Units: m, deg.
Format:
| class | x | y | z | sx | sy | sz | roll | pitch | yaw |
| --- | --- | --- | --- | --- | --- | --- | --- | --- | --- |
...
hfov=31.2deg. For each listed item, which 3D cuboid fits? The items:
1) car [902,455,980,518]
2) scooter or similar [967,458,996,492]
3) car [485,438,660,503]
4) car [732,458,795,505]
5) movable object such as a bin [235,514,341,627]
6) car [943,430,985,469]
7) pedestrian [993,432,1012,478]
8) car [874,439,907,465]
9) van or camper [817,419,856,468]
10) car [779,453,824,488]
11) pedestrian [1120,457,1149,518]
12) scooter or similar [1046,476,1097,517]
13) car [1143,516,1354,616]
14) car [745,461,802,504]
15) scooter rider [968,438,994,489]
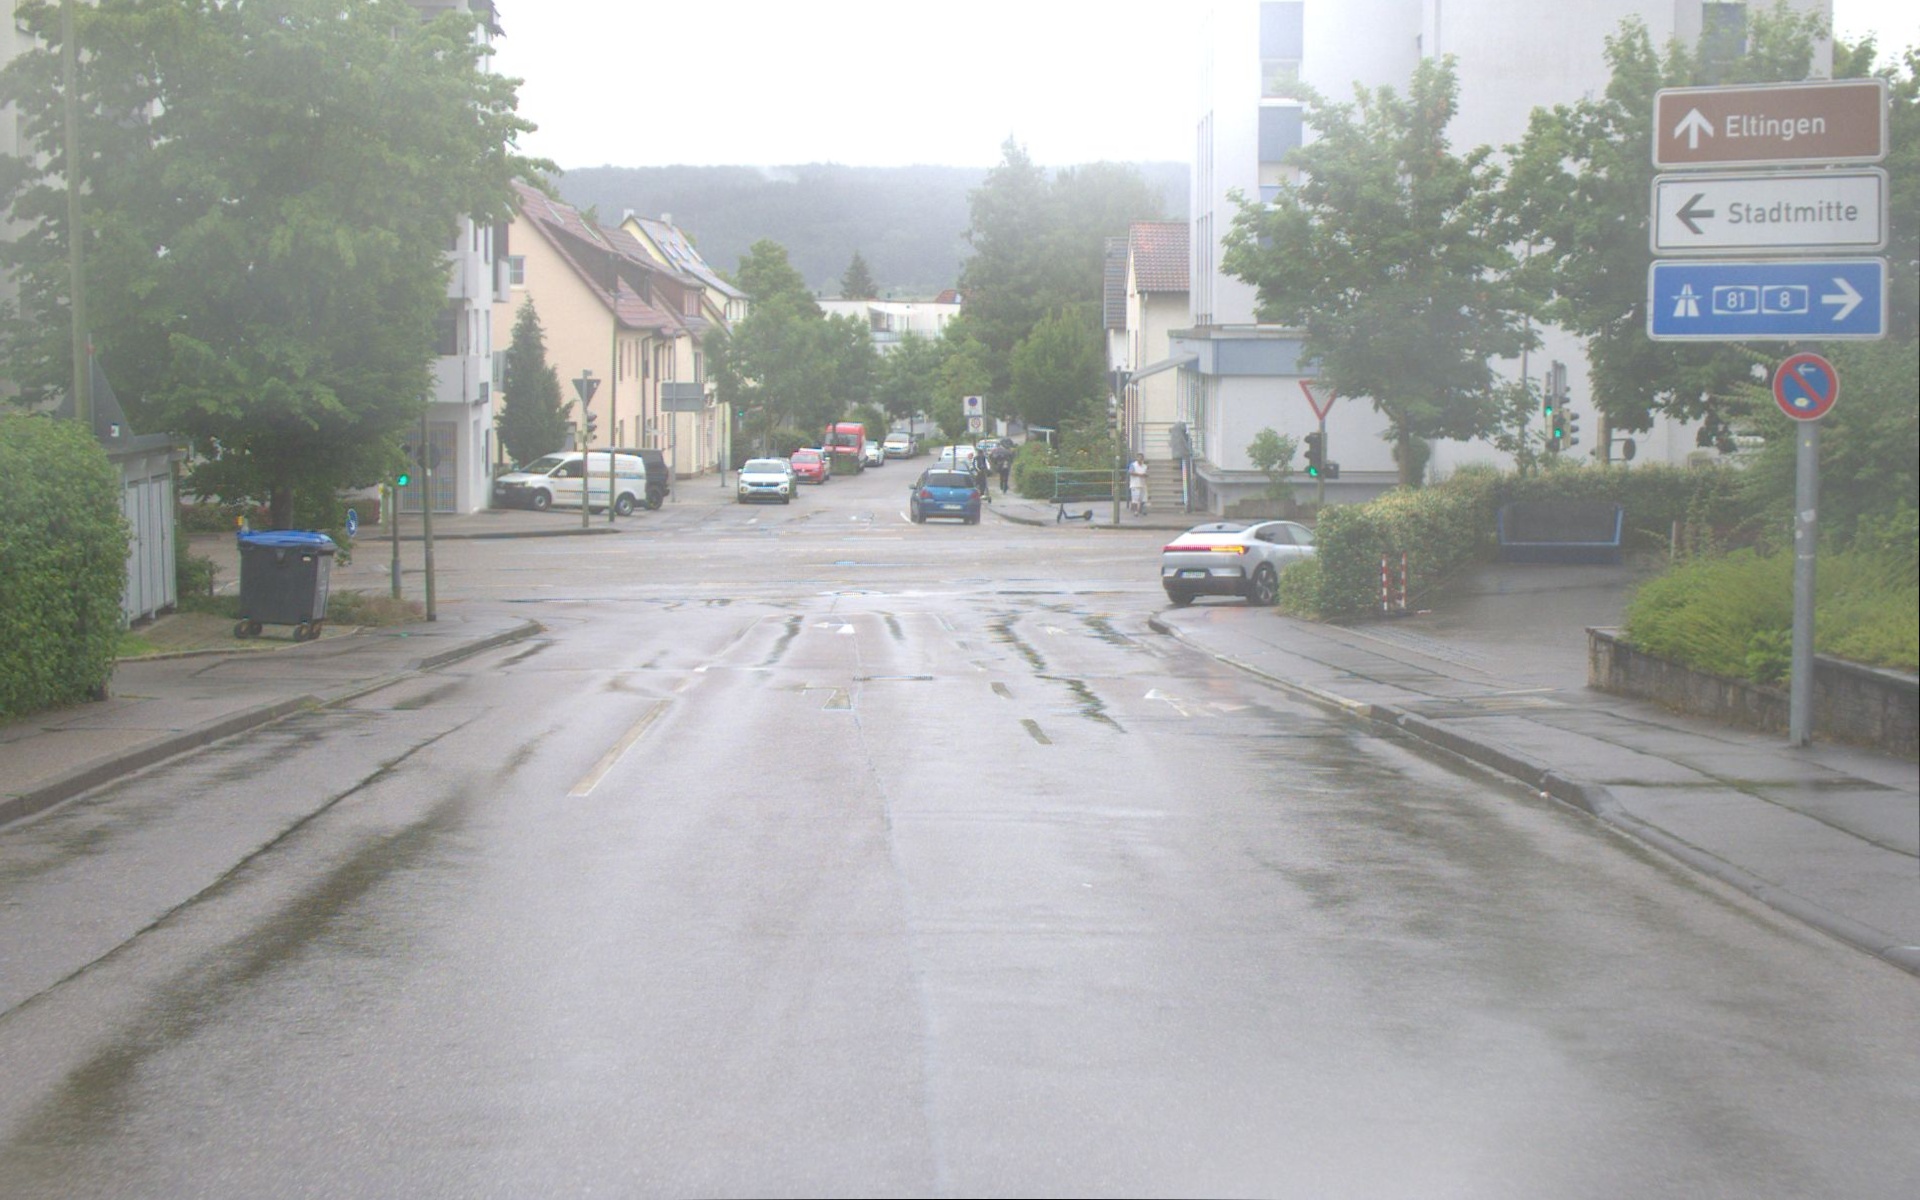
| class | x | y | z | sx | sy | sz | roll | pitch | yaw |
| --- | --- | --- | --- | --- | --- | --- | --- | --- | --- |
| car | -0.549 | -3.190 | 95.933 | 1.993 | 1.678 | 4.001 | -1 | 3 | -3 |
| scooter or similar | 0.774 | -4.495 | 123.529 | 0.757 | 1.167 | 1.315 | -2 | 3 | -13 |
| car | -11.516 | -3.865 | 102.270 | 4.830 | 1.829 | 1.999 | -3 | 3 | -39 |
| car | -6.986 | -4.234 | 122.581 | 1.993 | 1.620 | 4.192 | -1 | 3 | 0 |
| movable object such as a bin | -8.265 | -0.376 | 42.317 | 1.071 | 1.343 | 1.319 | 2 | 1 | -3 |
| car | 0.176 | -6.928 | 158.294 | 1.901 | 1.739 | 4.192 | -1 | 3 | 0 |
| pedestrian | 1.724 | -5.897 | 139.561 | 0.745 | 1.842 | 0.526 | -1 | 1 | 2 |
| car | -4.224 | -8.996 | 209.228 | 1.901 | 1.553 | 4.192 | -1 | 3 | 0 |
| van or camper | -6.485 | -8.251 | 180.868 | 1.901 | 2.504 | 4.239 | -1 | 3 | 0 |
| car | -7.330 | -6.004 | 159.010 | 1.901 | 1.553 | 4.192 | -1 | 3 | 0 |
| pedestrian | 4.809 | -3.089 | 94.626 | 0.647 | 1.641 | 0.526 | 3 | 2 | -7 |
| scooter or similar | 3.035 | -2.805 | 93.368 | 1.268 | 1.077 | 0.877 | -1 | 2 | -5 |
| car | 5.372 | -0.664 | 63.577 | 1.998 | 1.678 | 3.992 | 1 | 3 | 38 |
| car | -7.258 | -4.594 | 133.979 | 1.993 | 1.620 | 4.192 | -1 | 3 | 0 |
| scooter rider | 0.751 | -4.906 | 123.565 | 0.752 | 1.789 | 0.673 | -2 | 2 | -15 |
